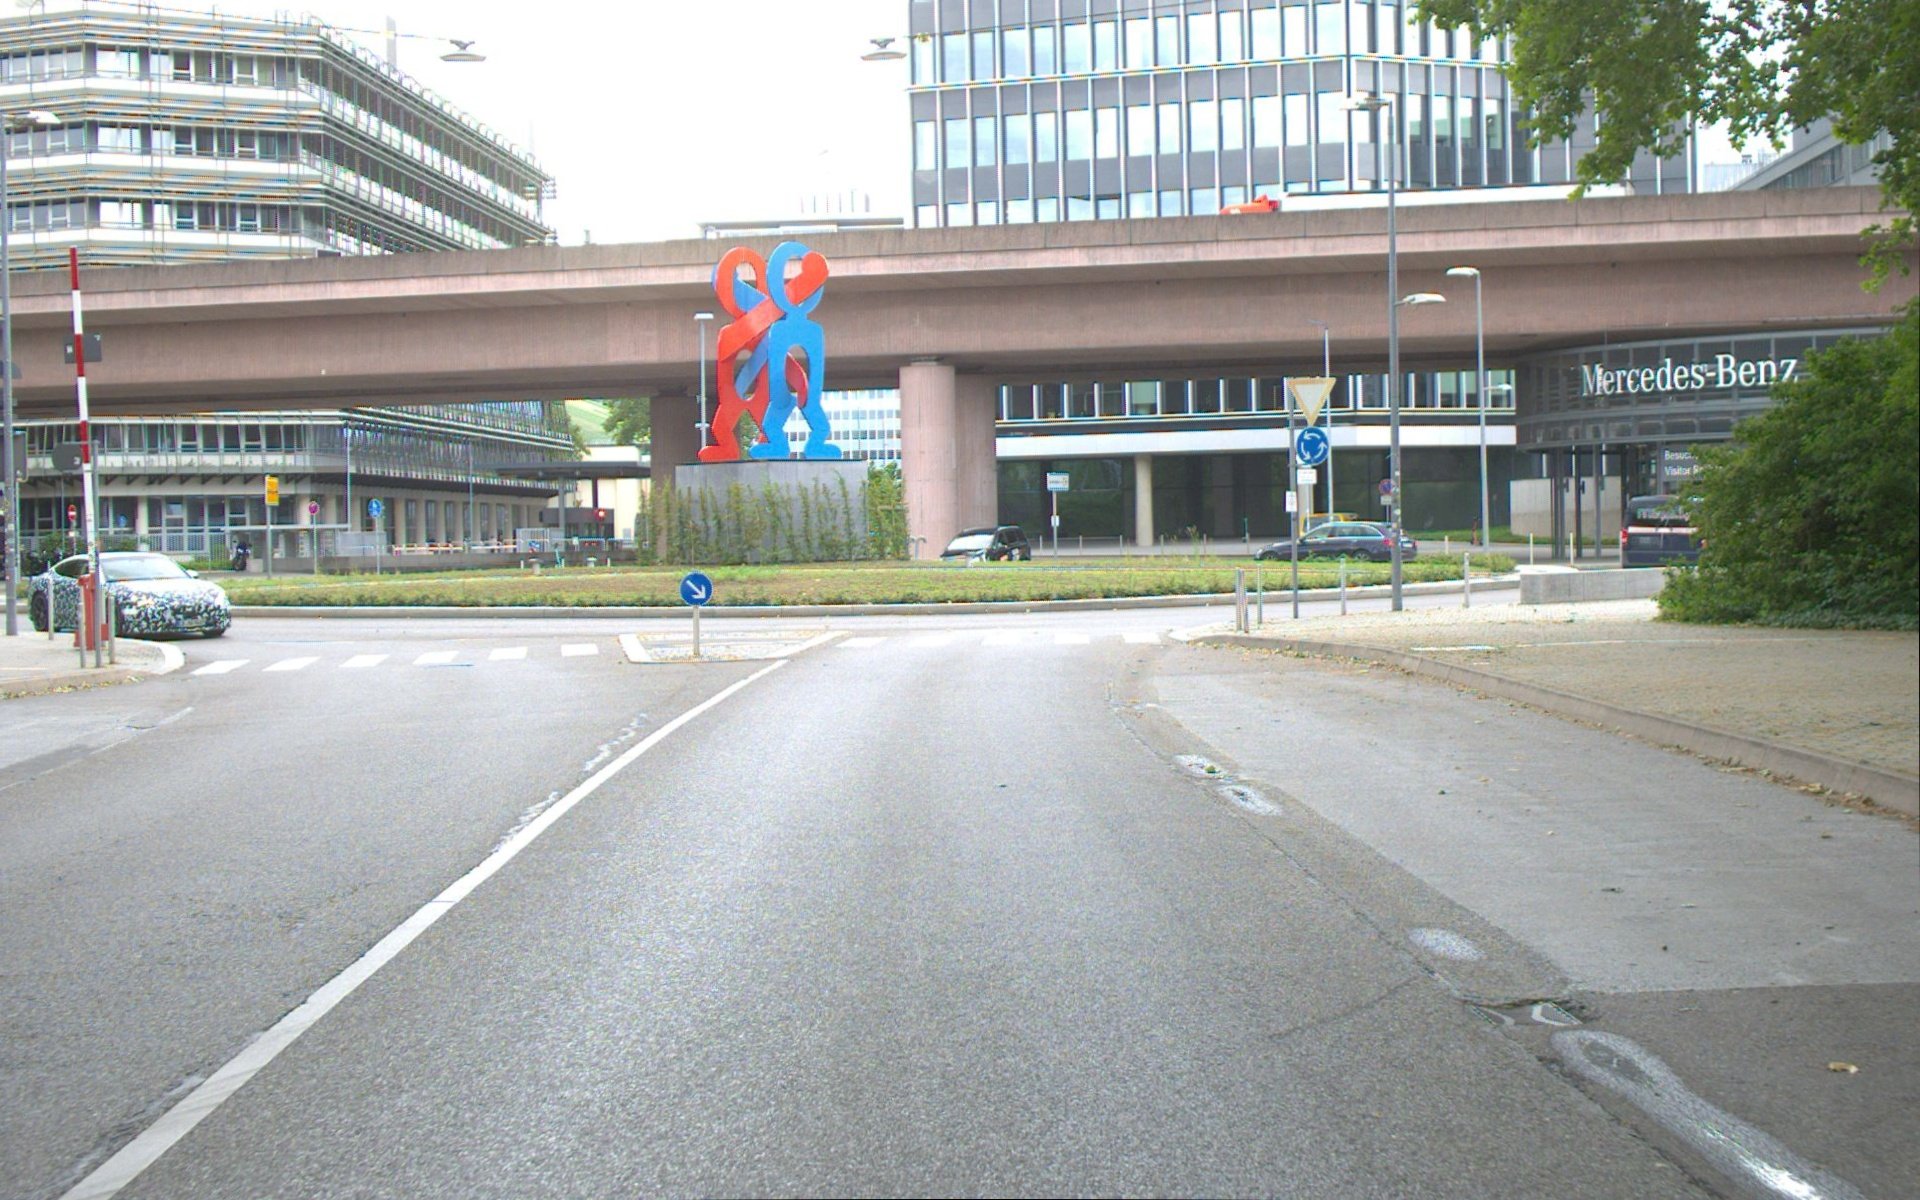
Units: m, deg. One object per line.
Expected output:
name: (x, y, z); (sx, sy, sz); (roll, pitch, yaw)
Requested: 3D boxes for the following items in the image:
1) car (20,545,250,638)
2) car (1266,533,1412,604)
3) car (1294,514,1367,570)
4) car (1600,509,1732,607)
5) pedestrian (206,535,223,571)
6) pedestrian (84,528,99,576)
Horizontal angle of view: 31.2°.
car: (-14.124, -0.135, 58.675); (1.901, 1.448, 4.813); (-4, 2, -38)
car: (10.431, -0.874, 94.569); (3.724, 1.919, 1.920); (0, 1, 16)
car: (13.530, -2.111, 125.391); (1.995, 2.007, 3.997); (0, 1, 16)
car: (15.025, -0.892, 72.997); (2.278, 2.007, 4.780); (0, 1, 17)
pedestrian: (-41.167, -2.584, 189.770); (0.776, 2.007, 0.671); (0, 1, -1)
pedestrian: (-36.417, -2.008, 144.217); (0.588, 2.007, 0.599); (0, 1, -13)
